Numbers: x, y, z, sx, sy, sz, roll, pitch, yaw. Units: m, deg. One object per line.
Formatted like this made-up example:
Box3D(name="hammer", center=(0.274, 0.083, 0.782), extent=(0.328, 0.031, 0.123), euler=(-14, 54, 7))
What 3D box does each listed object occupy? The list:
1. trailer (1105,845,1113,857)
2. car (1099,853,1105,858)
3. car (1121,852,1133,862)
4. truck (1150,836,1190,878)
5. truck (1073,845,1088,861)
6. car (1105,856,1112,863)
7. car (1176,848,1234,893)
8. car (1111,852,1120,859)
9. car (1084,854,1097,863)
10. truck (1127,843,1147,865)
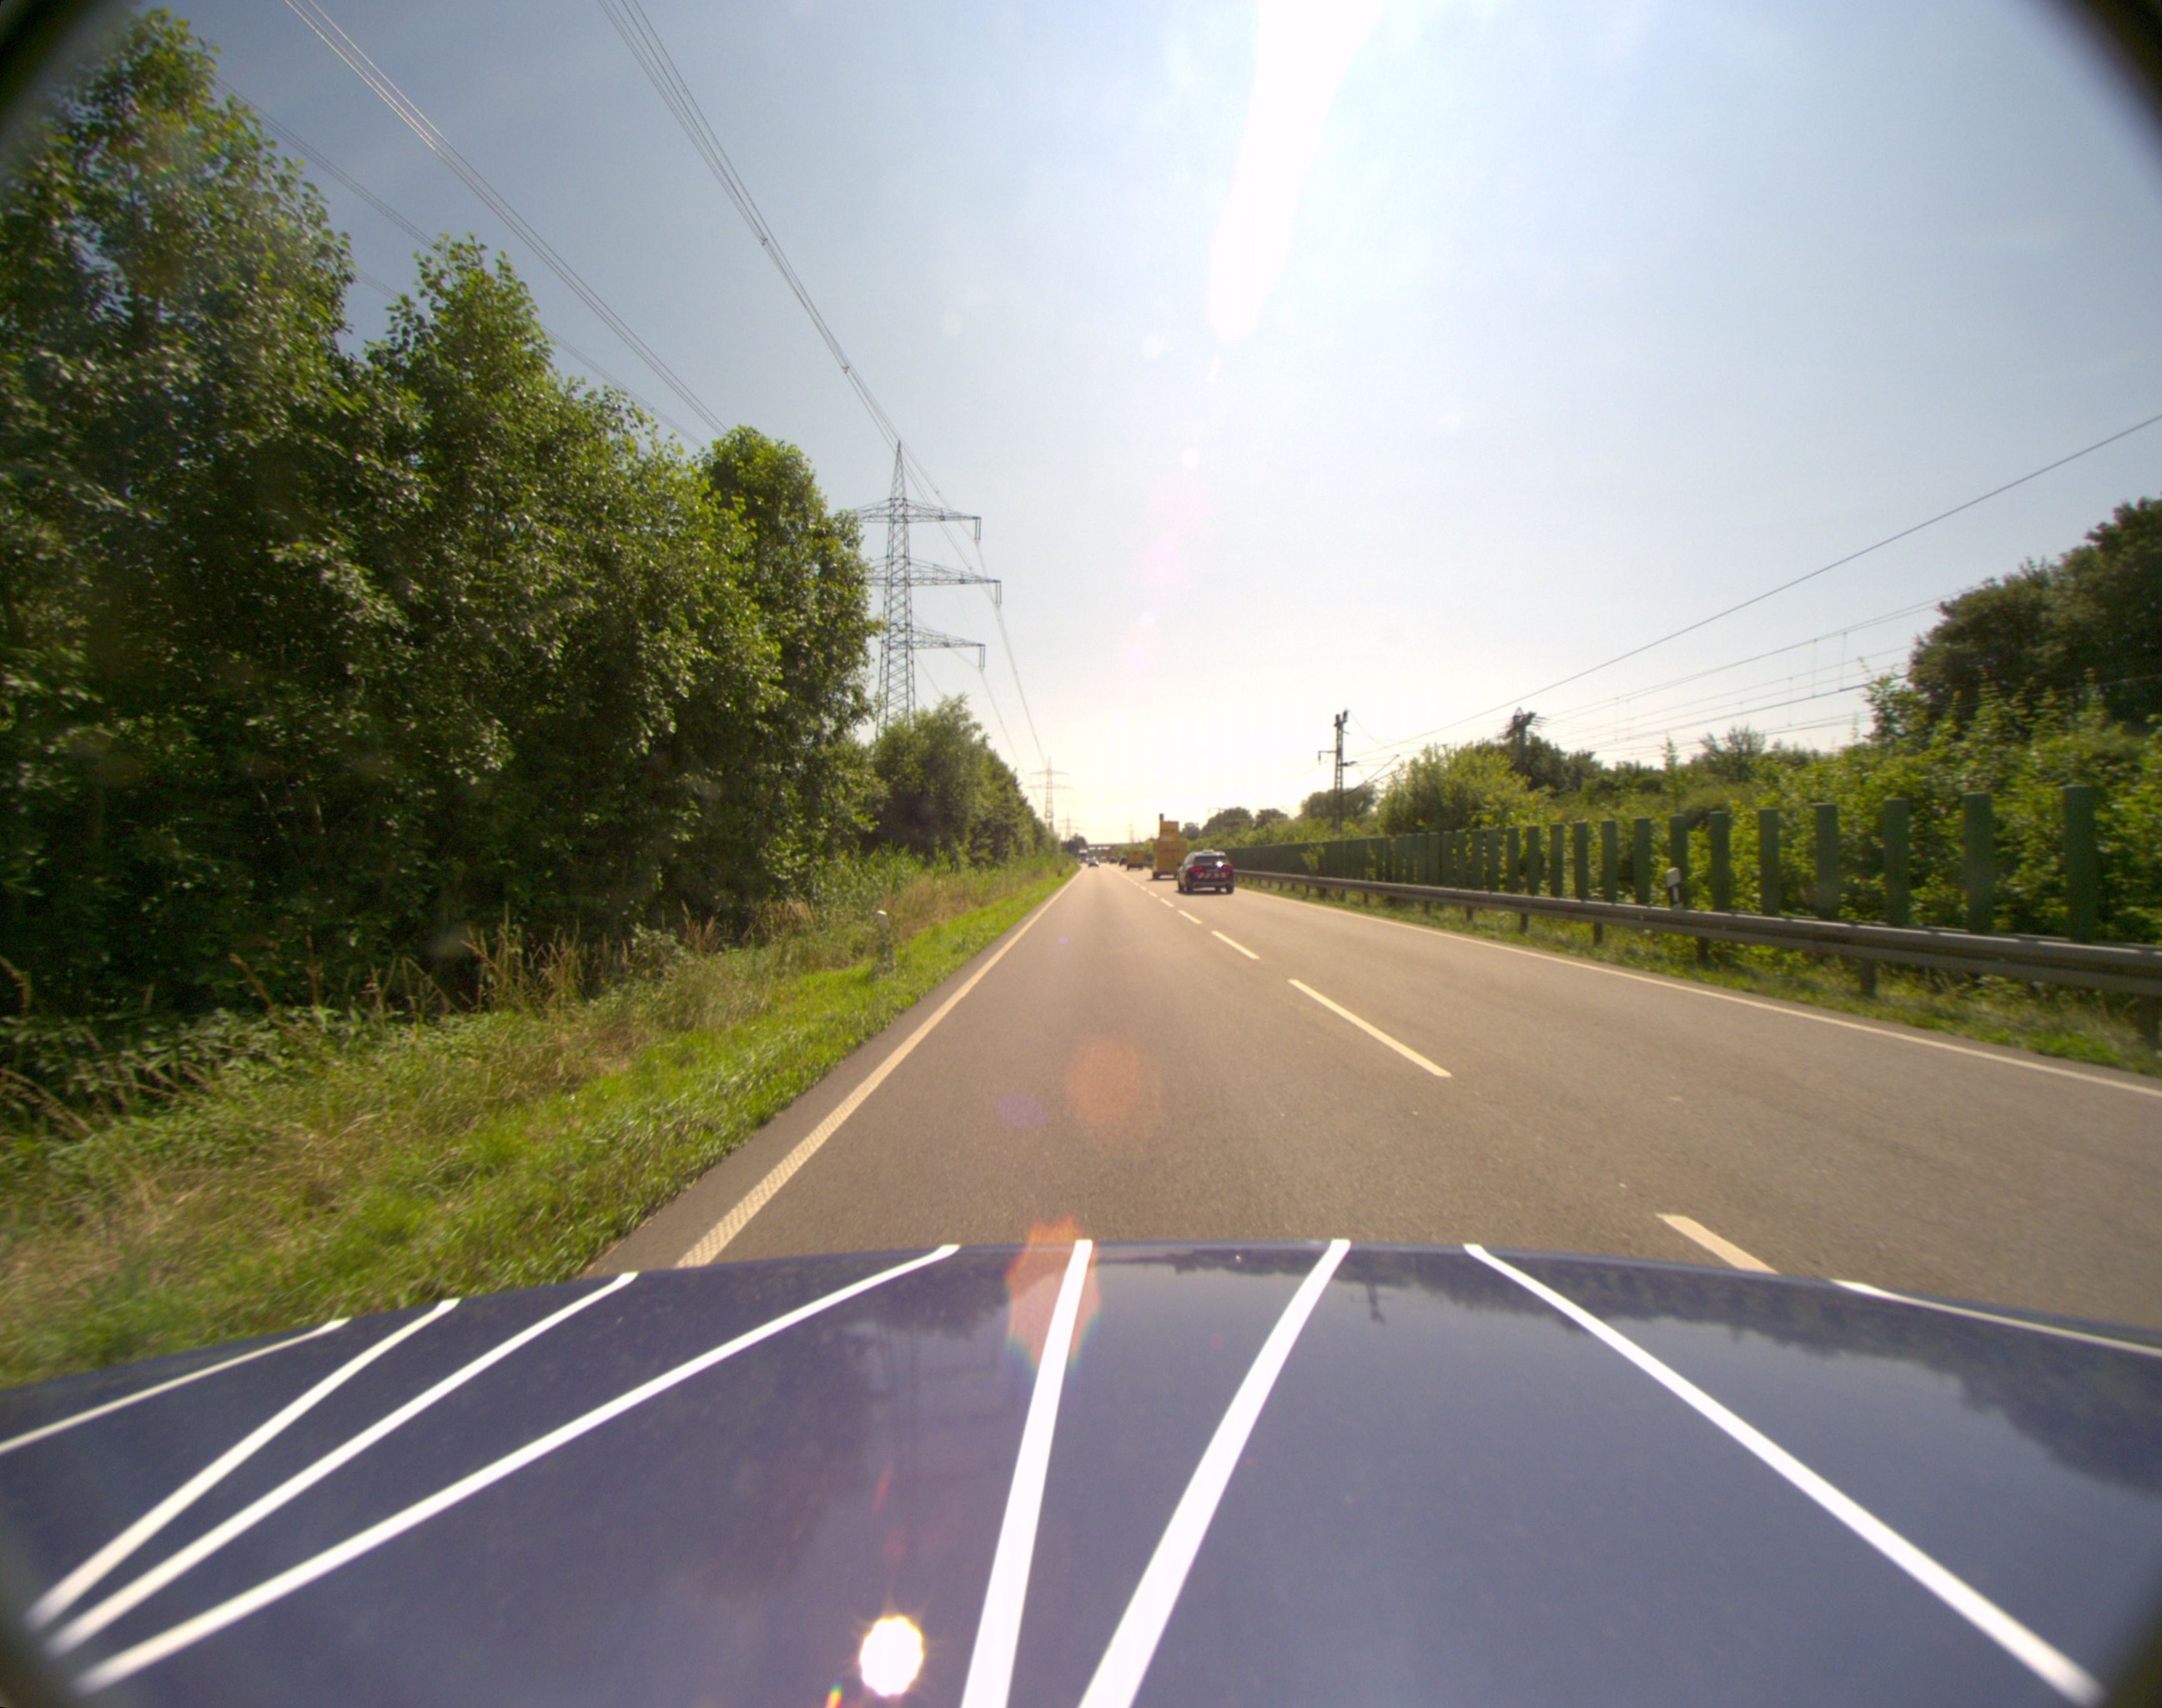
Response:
Box3D(name="trailer", center=(9.310, -0.994, 252.152), extent=(2.554, 4.120, 9.228), euler=(-2, 0, 1))
Box3D(name="car", center=(6.403, 0.325, 230.059), extent=(1.618, 1.433, 3.794), euler=(-1, 0, 0))
Box3D(name="car", center=(7.701, 0.550, 126.695), extent=(1.806, 1.578, 4.371), euler=(-1, 0, 1))
Box3D(name="truck", center=(5.957, 0.168, 51.490), extent=(2.085, 2.631, 5.704), euler=(-1, 0, 1))
Box3D(name="truck", center=(-0.130, -0.299, 226.798), extent=(4.219, 4.608, 21.303), euler=(-2, 0, 0))
Box3D(name="car", center=(7.126, 1.403, 199.764), extent=(1.829, 1.596, 4.323), euler=(-2, 0, 2))
Box3D(name="car", center=(5.093, 0.642, 31.824), extent=(1.818, 1.684, 4.706), euler=(-1, 0, 2))
Box3D(name="car", center=(7.752, 0.398, 170.963), extent=(1.677, 1.506, 4.289), euler=(-1, 0, 1))
Box3D(name="car", center=(1.458, 0.750, 123.066), extent=(1.998, 1.346, 4.157), euler=(-2, 1, 0))
Box3D(name="truck", center=(6.527, -0.003, 88.521), extent=(1.998, 2.334, 6.012), euler=(-1, 0, 2))
